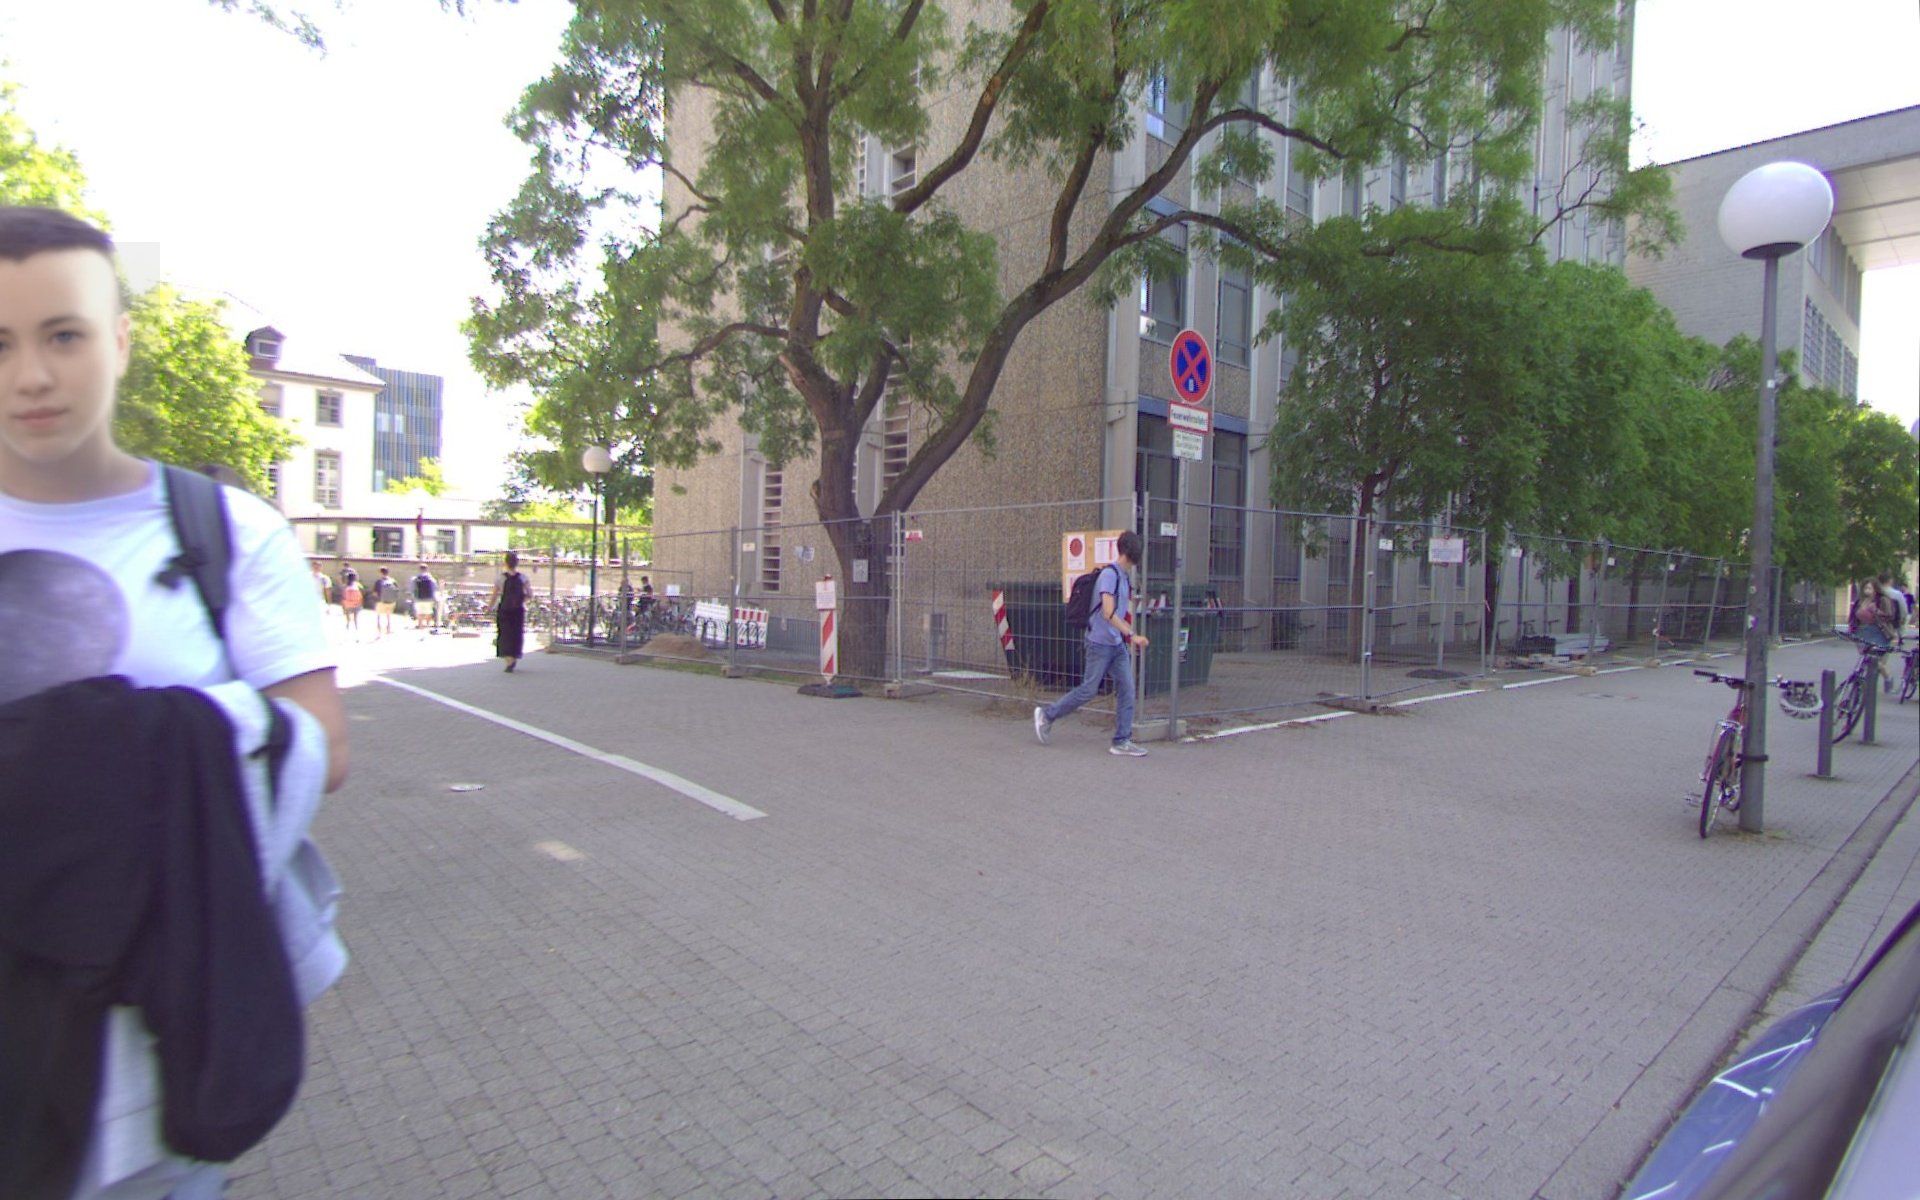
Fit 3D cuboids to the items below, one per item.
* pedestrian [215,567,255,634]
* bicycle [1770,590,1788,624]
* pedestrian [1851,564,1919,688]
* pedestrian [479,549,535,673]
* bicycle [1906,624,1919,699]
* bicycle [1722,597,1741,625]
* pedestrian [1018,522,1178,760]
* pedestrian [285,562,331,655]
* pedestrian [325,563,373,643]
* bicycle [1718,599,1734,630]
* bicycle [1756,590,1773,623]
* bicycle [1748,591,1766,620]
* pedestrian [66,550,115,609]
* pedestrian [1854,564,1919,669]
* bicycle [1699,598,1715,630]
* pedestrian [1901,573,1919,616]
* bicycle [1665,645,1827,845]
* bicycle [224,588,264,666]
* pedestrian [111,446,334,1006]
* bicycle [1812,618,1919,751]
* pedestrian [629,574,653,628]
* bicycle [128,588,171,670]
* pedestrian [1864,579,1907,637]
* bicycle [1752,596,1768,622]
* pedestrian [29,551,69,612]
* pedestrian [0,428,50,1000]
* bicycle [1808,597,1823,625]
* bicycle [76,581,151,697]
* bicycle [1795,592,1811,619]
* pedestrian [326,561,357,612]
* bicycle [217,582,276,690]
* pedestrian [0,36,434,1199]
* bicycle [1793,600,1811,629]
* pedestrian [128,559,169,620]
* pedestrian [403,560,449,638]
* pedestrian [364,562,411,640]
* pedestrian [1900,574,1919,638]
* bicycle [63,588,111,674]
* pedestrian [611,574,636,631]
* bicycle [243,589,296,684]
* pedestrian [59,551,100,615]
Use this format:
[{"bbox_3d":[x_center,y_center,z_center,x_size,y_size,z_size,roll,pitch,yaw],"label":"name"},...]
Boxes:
[{"bbox_3d":[-19.540,-0.006,27.289,0.902,1.749,0.674,2,4,44],"label":"pedestrian"},{"bbox_3d":[28.208,0.225,34.850,0.291,1.142,1.425,3,2,44],"label":"bicycle"},{"bbox_3d":[13.414,0.357,14.674,0.719,1.746,0.685,0,1,-44],"label":"pedestrian"},{"bbox_3d":[-6.344,0.132,14.156,0.577,1.671,0.855,-1,2,-34],"label":"pedestrian"},{"bbox_3d":[13.148,0.815,13.643,1.702,0.947,0.396,-1,4,-43],"label":"bicycle"},{"bbox_3d":[25.932,0.366,34.008,0.291,0.916,1.425,3,2,44],"label":"bicycle"},{"bbox_3d":[1.035,0.268,7.717,0.689,1.671,1.048,-1,2,-34],"label":"pedestrian"},{"bbox_3d":[-12.842,0.144,19.919,0.672,1.749,0.905,-3,4,-35],"label":"pedestrian"},{"bbox_3d":[-13.871,0.045,22.957,0.902,1.749,0.674,2,4,44],"label":"pedestrian"},{"bbox_3d":[24.086,0.447,31.809,0.290,0.916,1.779,2,2,39],"label":"bicycle"},{"bbox_3d":[27.912,0.226,35.112,0.291,1.107,1.425,3,2,44],"label":"bicycle"},{"bbox_3d":[26.412,0.168,33.523,0.291,0.916,1.425,3,2,44],"label":"bicycle"},{"bbox_3d":[-27.874,-0.665,32.465,0.886,1.844,0.686,-1,3,-6],"label":"pedestrian"},{"bbox_3d":[17.136,0.282,18.574,0.777,1.868,1.109,0,1,24],"label":"pedestrian"},{"bbox_3d":[22.483,0.423,30.455,0.290,0.916,1.596,2,2,39],"label":"bicycle"},{"bbox_3d":[41.409,-0.242,43.780,0.955,1.836,0.759,1,1,39],"label":"pedestrian"},{"bbox_3d":[4.866,0.822,6.225,1.710,0.973,0.451,-1,5,-43],"label":"bicycle"},{"bbox_3d":[-11.535,0.402,16.286,0.465,1.184,1.811,0,0,-38],"label":"bicycle"},{"bbox_3d":[-2.520,0.338,3.525,0.548,1.691,0.890,0,7,-34],"label":"pedestrian"},{"bbox_3d":[8.860,0.763,9.790,1.719,1.106,0.709,-1,2,-43],"label":"bicycle"},{"bbox_3d":[-9.709,0.027,30.787,0.553,1.633,0.532,0,1,-41],"label":"pedestrian"},{"bbox_3d":[-12.352,0.409,15.410,0.466,1.184,1.809,0,0,-40],"label":"bicycle"},{"bbox_3d":[27.403,0.226,29.986,0.697,1.675,0.873,2,1,30],"label":"pedestrian"},{"bbox_3d":[28.797,0.307,36.420,0.291,0.916,1.425,3,2,44],"label":"bicycle"},{"bbox_3d":[-26.509,-0.553,29.442,0.899,1.749,0.676,2,1,34],"label":"pedestrian"},{"bbox_3d":[-3.165,0.335,2.937,0.631,1.693,0.890,2,2,-34],"label":"pedestrian"},{"bbox_3d":[29.711,0.367,35.145,0.291,0.916,1.425,3,2,44],"label":"bicycle"},{"bbox_3d":[-8.872,0.359,10.642,0.514,1.124,1.814,0,1,-37],"label":"bicycle"},{"bbox_3d":[29.500,0.190,35.402,0.291,0.916,1.425,3,2,44],"label":"bicycle"},{"bbox_3d":[-21.980,-0.481,35.975,0.902,1.749,0.674,2,4,44],"label":"pedestrian"},{"bbox_3d":[-7.969,0.359,11.285,0.465,1.124,1.698,0,1,-38],"label":"bicycle"},{"bbox_3d":[-0.987,0.429,1.186,0.577,1.816,0.770,-1,3,-34],"label":"pedestrian"},{"bbox_3d":[27.288,0.456,32.795,0.291,0.916,1.425,3,2,44],"label":"bicycle"},{"bbox_3d":[-24.056,-0.320,29.994,0.899,1.749,0.676,2,4,35],"label":"pedestrian"},{"bbox_3d":[-12.520,-0.043,23.723,0.902,1.749,0.674,2,4,44],"label":"pedestrian"},{"bbox_3d":[-13.324,-0.004,23.552,0.902,1.749,0.674,2,4,44],"label":"pedestrian"},{"bbox_3d":[27.677,0.171,29.111,0.697,1.825,0.873,2,1,30],"label":"pedestrian"},{"bbox_3d":[-12.824,0.419,14.853,0.466,1.184,1.808,0,0,-43],"label":"bicycle"},{"bbox_3d":[-9.950,0.063,29.895,0.523,1.651,0.562,0,1,-41],"label":"pedestrian"},{"bbox_3d":[-8.849,0.423,12.945,0.465,1.124,1.811,0,1,-38],"label":"bicycle"},{"bbox_3d":[-26.298,-0.519,30.224,0.899,1.844,0.676,2,4,35],"label":"pedestrian"}]
